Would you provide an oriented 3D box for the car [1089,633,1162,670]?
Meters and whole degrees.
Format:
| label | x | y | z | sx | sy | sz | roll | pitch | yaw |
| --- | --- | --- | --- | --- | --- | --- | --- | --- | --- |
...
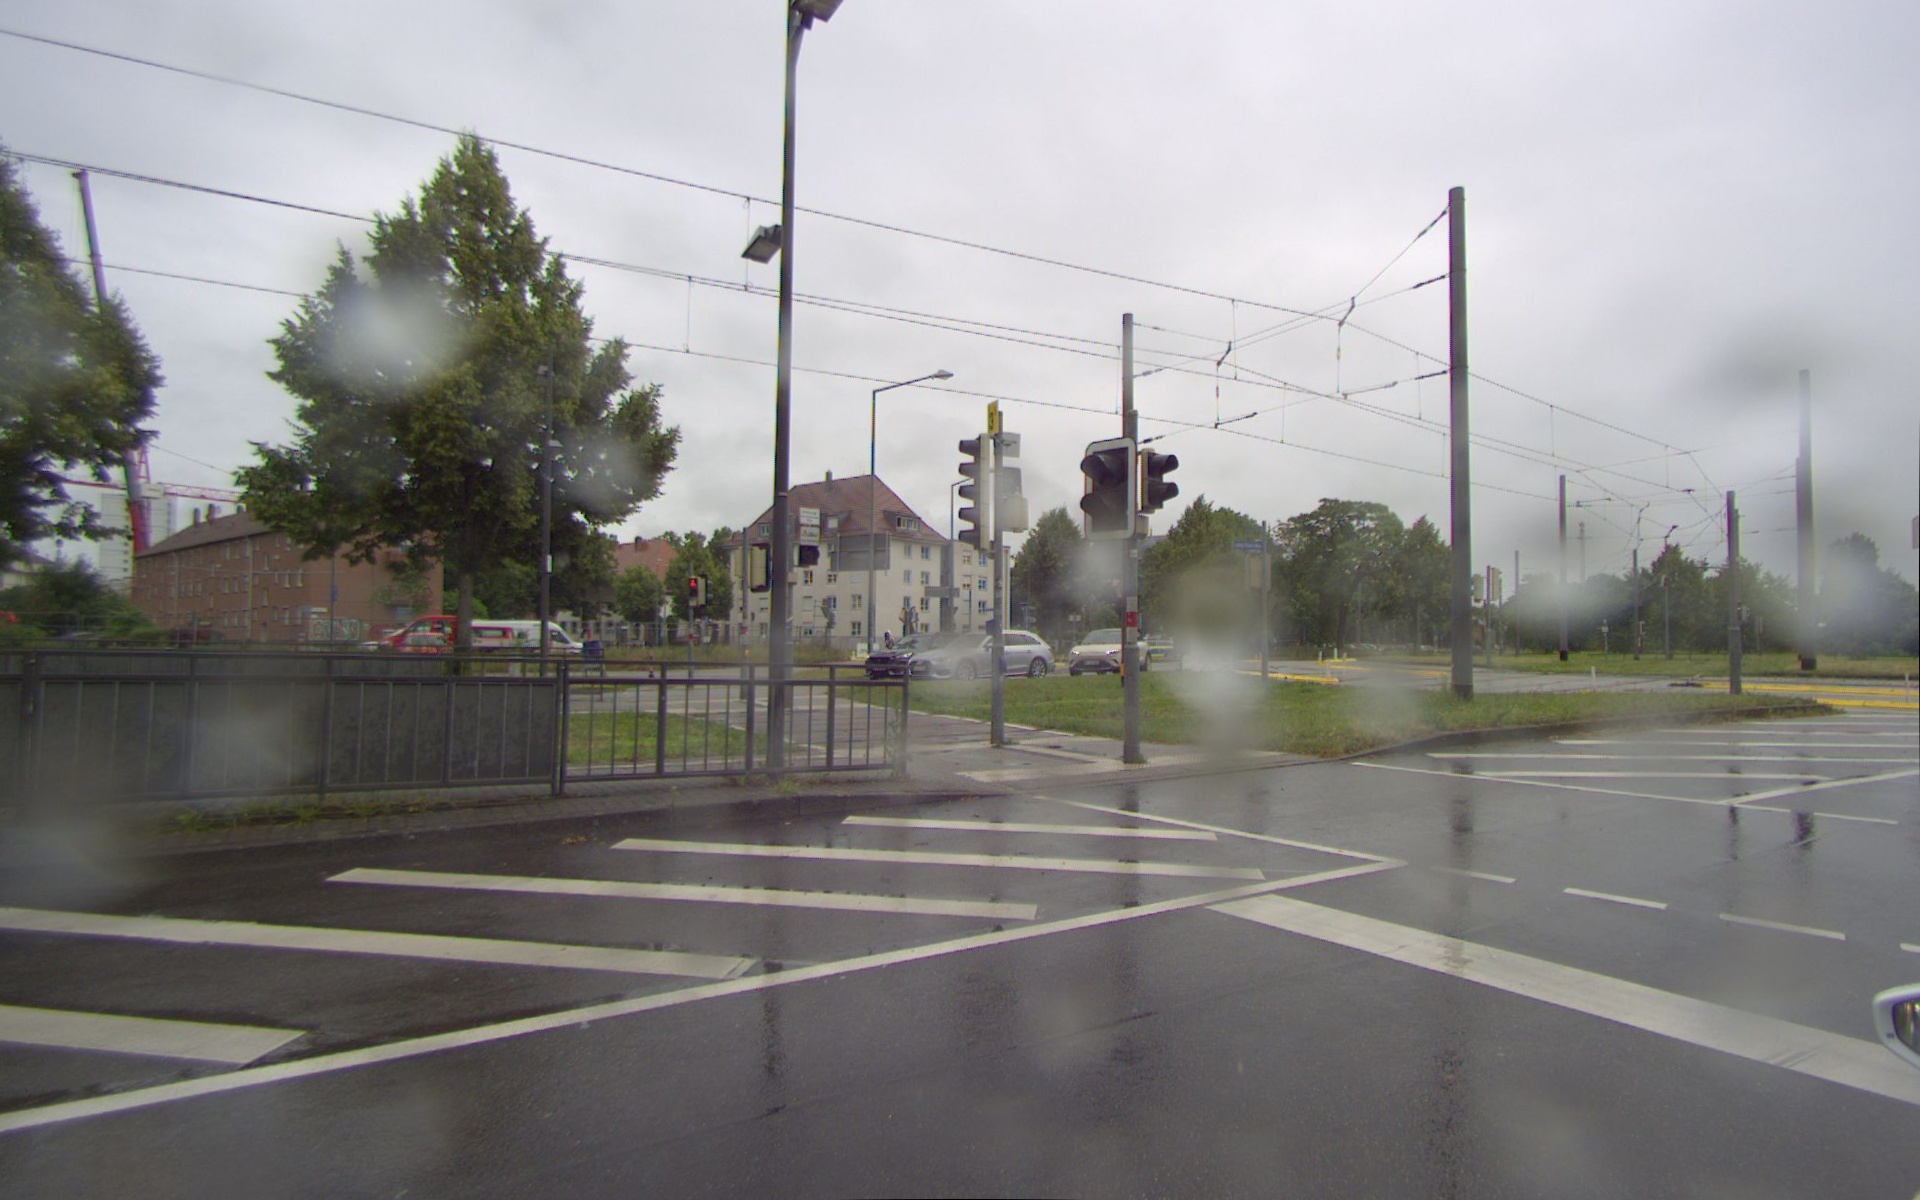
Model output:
| label | x | y | z | sx | sy | sz | roll | pitch | yaw |
| --- | --- | --- | --- | --- | --- | --- | --- | --- | --- |
| car | 11.720 | 3.650 | 71.317 | 4.750 | 2.358 | 1.998 | 2 | 0 | -6 |

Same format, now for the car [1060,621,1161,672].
| label | x | y | z | sx | sy | sz | roll | pitch | yaw |
| --- | --- | --- | --- | --- | --- | --- | --- | --- | --- |
| car | 5.018 | 1.473 | 33.045 | 1.819 | 1.506 | 4.217 | 2 | 0 | 31 |

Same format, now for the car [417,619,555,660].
| label | x | y | z | sx | sy | sz | roll | pitch | yaw |
| --- | --- | --- | --- | --- | --- | --- | --- | --- | --- |
| car | -24.883 | 2.077 | 53.061 | 6.329 | 2.040 | 2.347 | 1 | -2 | -20 |

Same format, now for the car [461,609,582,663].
| label | x | y | z | sx | sy | sz | roll | pitch | yaw |
| --- | --- | --- | --- | --- | --- | --- | --- | --- | --- |
| car | -25.996 | 2.156 | 59.849 | 6.329 | 2.978 | 2.346 | 2 | 0 | -20 |

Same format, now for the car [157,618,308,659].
| label | x | y | z | sx | sy | sz | roll | pitch | yaw |
| --- | --- | --- | --- | --- | --- | --- | --- | --- | --- |
| car | -39.730 | 2.099 | 54.984 | 2.325 | 2.040 | 6.388 | 2 | 0 | 44 |

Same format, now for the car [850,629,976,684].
| label | x | y | z | sx | sy | sz | roll | pitch | yaw |
| --- | --- | --- | --- | --- | --- | --- | --- | --- | --- |
| car | -1.391 | 1.695 | 31.112 | 1.801 | 1.506 | 3.986 | 2 | 0 | 36 |

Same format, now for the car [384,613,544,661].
| label | x | y | z | sx | sy | sz | roll | pitch | yaw |
| --- | --- | --- | --- | --- | --- | --- | --- | --- | --- |
| car | -22.759 | 1.719 | 46.458 | 6.329 | 2.040 | 2.346 | 2 | 0 | -20 |

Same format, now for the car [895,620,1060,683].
| label | x | y | z | sx | sy | sz | roll | pitch | yaw |
| --- | --- | --- | --- | --- | --- | --- | --- | --- | --- |
| car | 0.562 | 1.353 | 27.362 | 4.596 | 1.506 | 1.807 | 2 | 0 | -45 |
